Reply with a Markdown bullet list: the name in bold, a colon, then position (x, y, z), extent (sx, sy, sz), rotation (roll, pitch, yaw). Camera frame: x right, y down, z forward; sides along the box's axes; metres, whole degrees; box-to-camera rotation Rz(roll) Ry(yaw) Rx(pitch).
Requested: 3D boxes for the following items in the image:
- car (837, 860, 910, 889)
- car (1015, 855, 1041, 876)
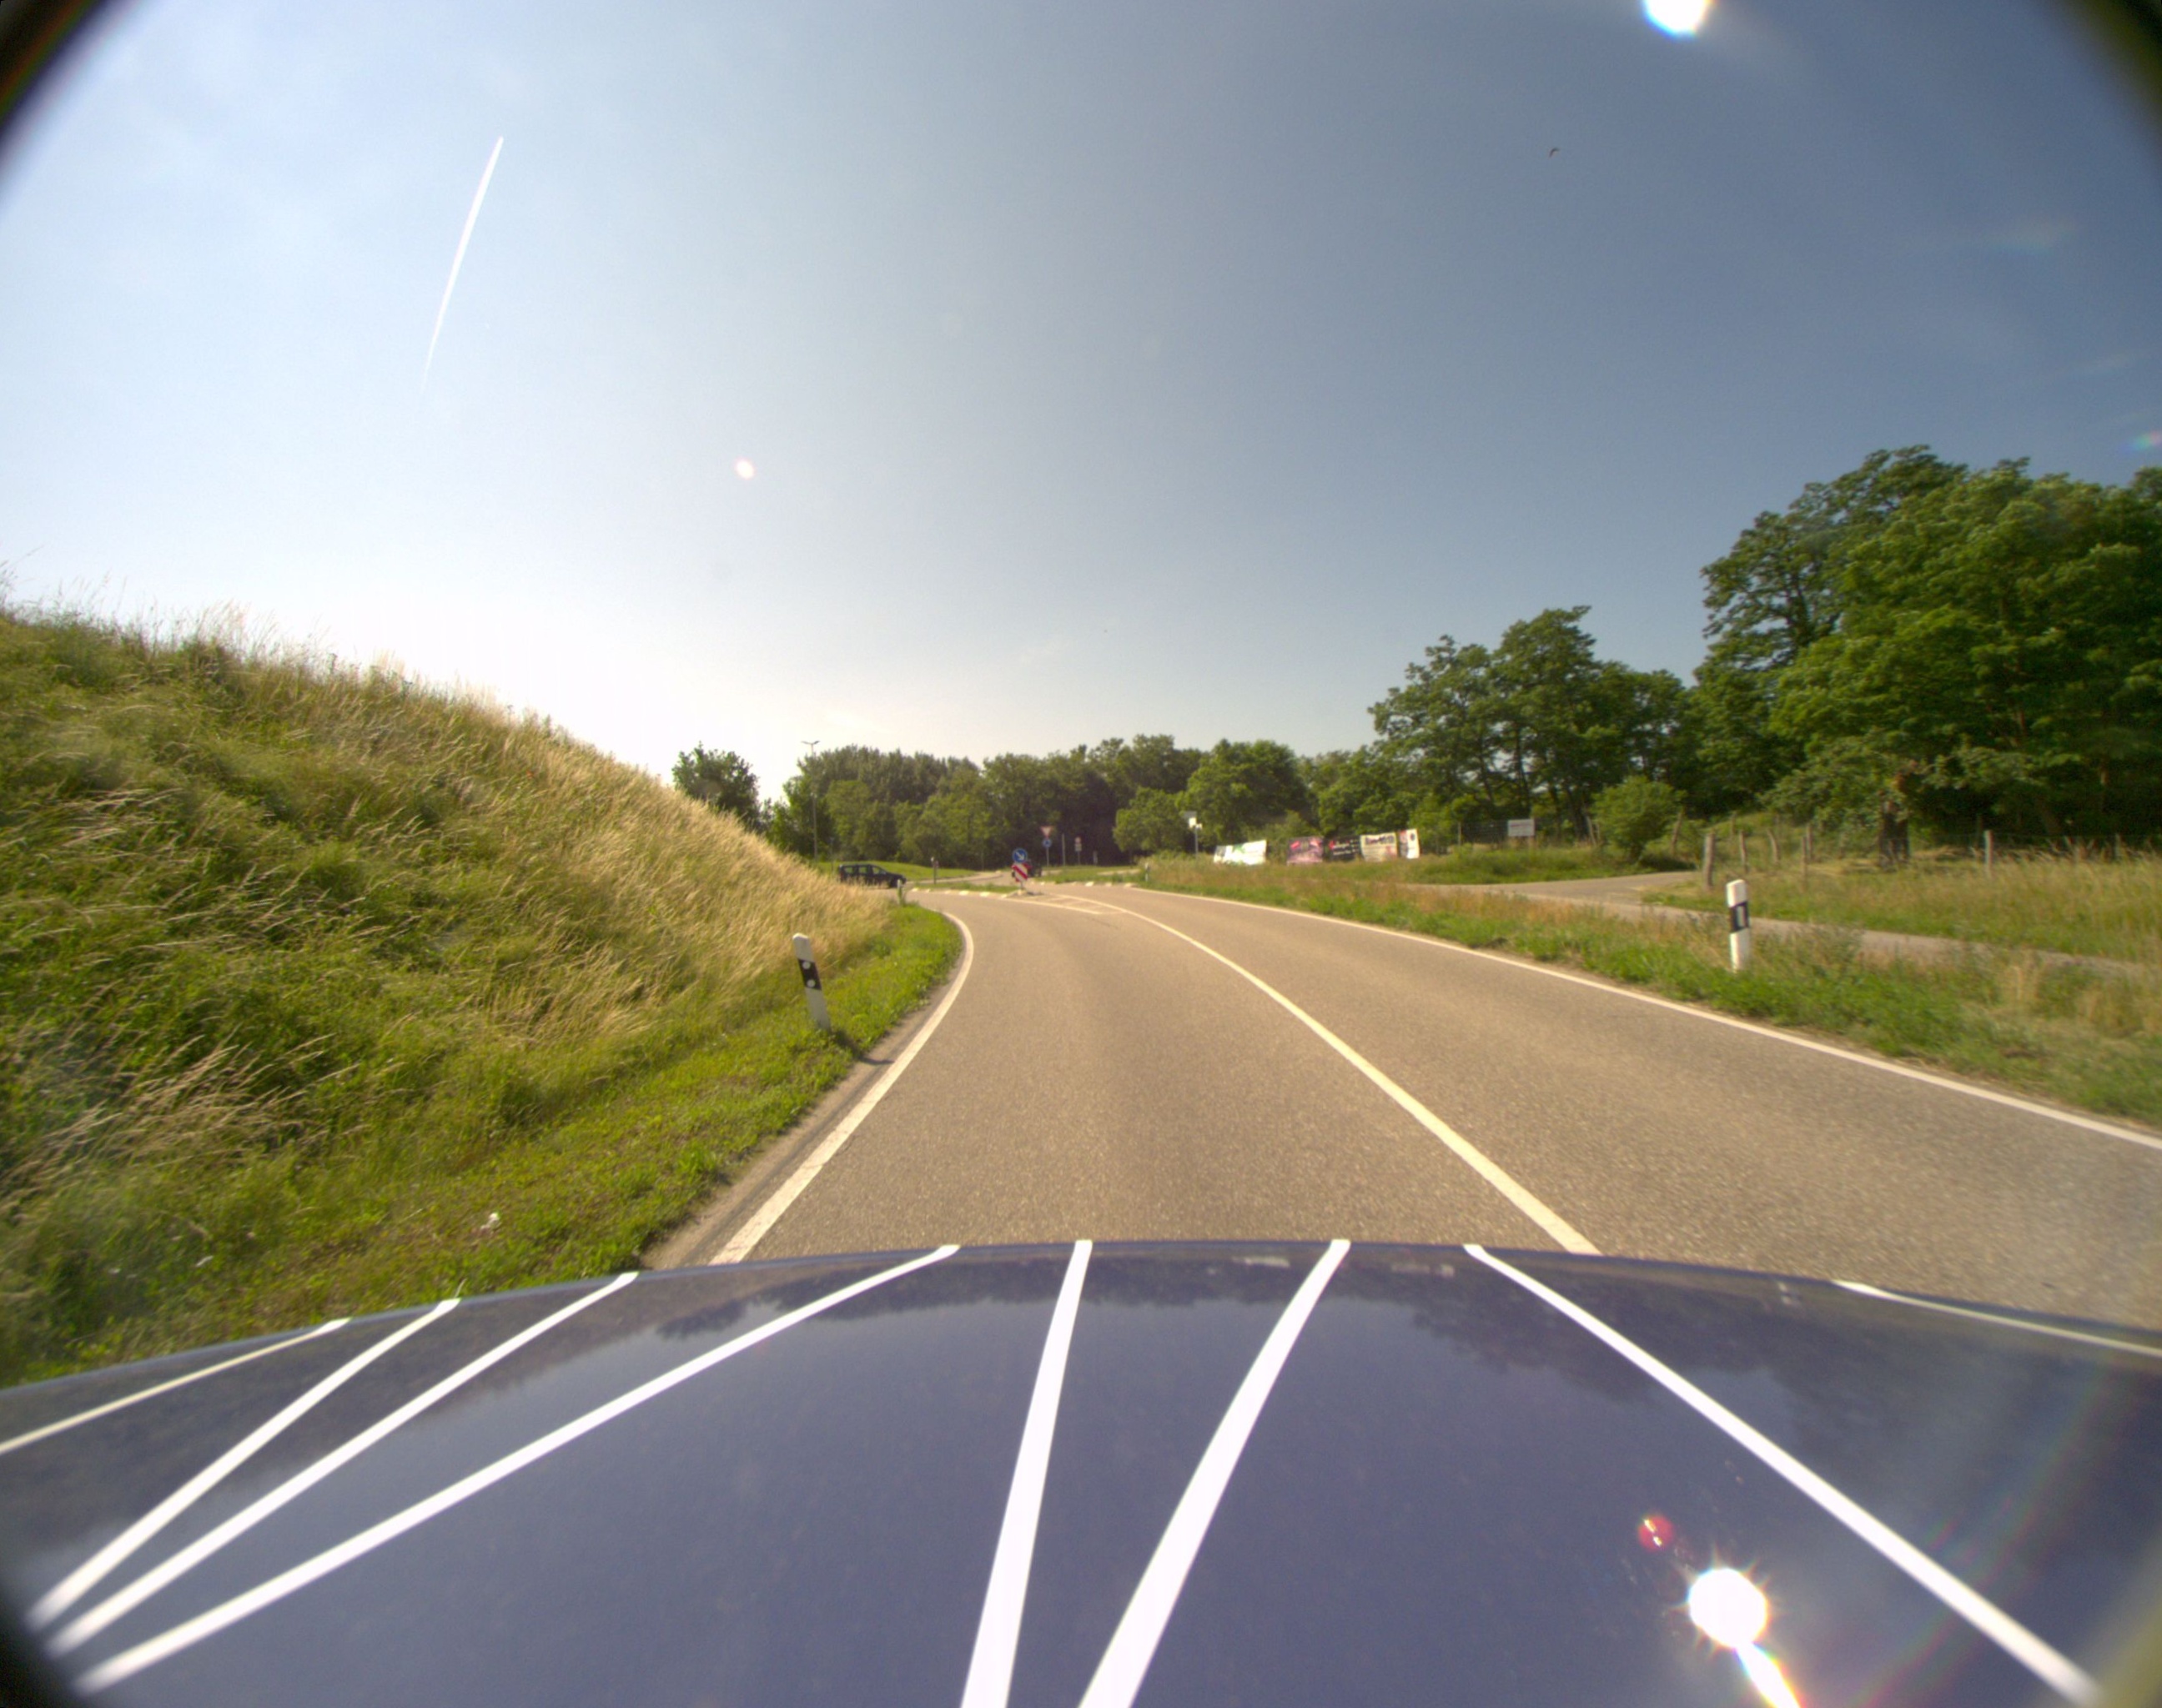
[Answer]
- **car**: position (-13.504, 1.291, 49.434), extent (4.356, 1.646, 1.704), rotation (-3, 1, -24)
- **car**: position (-4.355, 0.938, 62.956), extent (1.813, 1.481, 4.677), rotation (-2, 1, -1)
